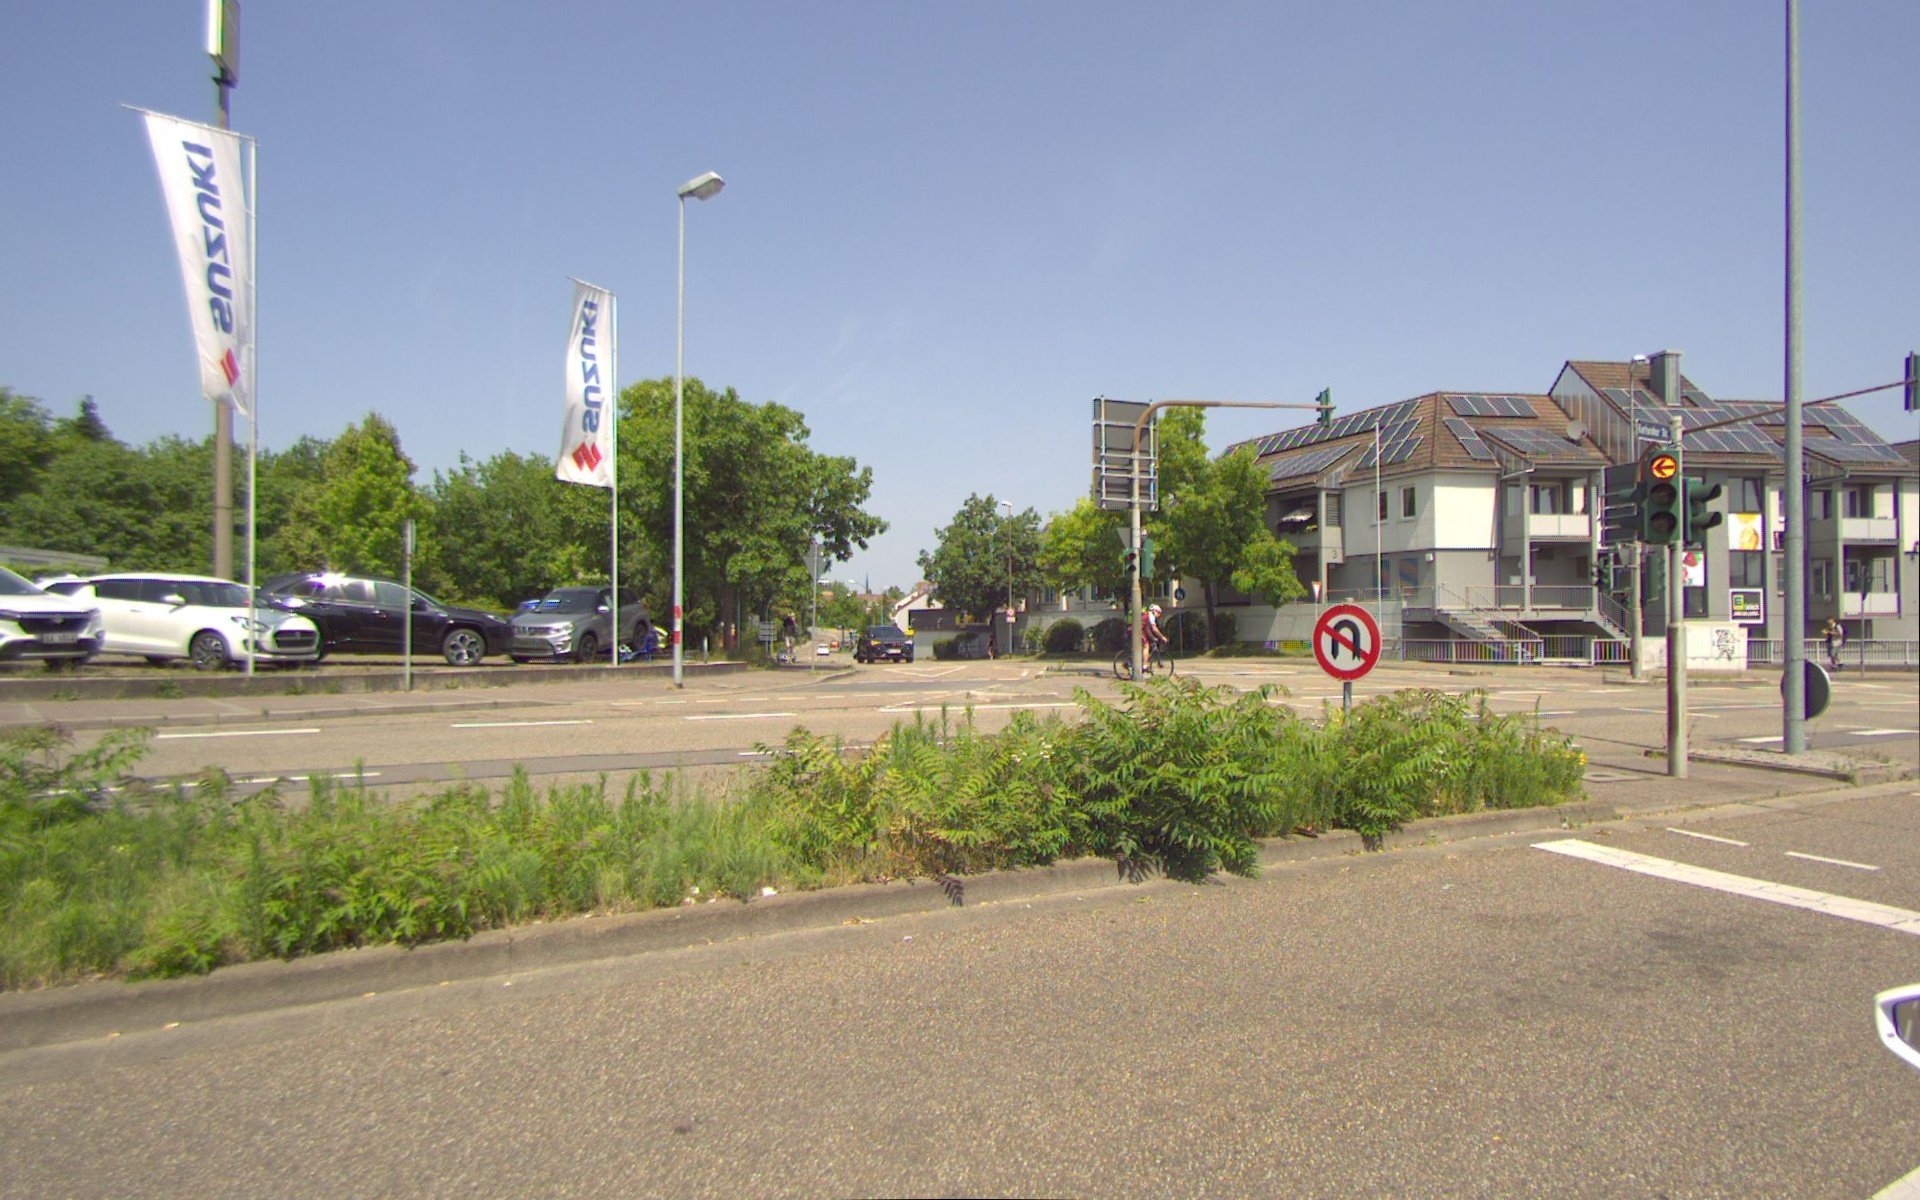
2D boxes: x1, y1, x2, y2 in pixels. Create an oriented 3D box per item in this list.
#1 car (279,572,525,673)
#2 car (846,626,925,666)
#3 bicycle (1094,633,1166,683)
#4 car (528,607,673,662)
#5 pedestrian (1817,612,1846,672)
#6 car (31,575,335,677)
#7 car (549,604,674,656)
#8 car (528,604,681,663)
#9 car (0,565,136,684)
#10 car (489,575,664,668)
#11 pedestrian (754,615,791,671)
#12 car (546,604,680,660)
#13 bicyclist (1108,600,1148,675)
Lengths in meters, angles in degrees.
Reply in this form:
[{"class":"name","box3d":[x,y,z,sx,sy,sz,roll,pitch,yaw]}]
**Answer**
[{"class":"car","box3d":[-10.740,0.481,19.606,3.965,1.746,1.833,3,-2,-28]},{"class":"car","box3d":[-3.073,1.875,40.593,1.974,1.505,4.421,0,-3,-21]},{"class":"bicycle","box3d":[3.858,1.301,22.772,1.769,1.068,0.418,0,1,-32]},{"class":"car","box3d":[-10.999,1.086,30.773,3.950,1.591,1.829,2,-3,-28]},{"class":"pedestrian","box3d":[29.855,1.430,34.422,0.733,2.041,0.501,0,1,-26]},{"class":"car","box3d":[-12.518,0.419,16.277,3.882,1.451,1.718,2,-2,11]},{"class":"car","box3d":[-12.250,1.068,35.318,3.949,1.706,1.856,2,-1,-27]},{"class":"car","box3d":[-10.185,0.958,28.799,3.949,1.557,1.783,2,-1,-27]},{"class":"car","box3d":[-14.261,0.281,14.276,3.882,1.561,1.920,2,0,12]},{"class":"car","box3d":[-8.743,0.555,23.361,1.792,1.926,4.313,2,-3,9]},{"class":"pedestrian","box3d":[-6.504,1.478,34.759,0.971,1.896,0.808,2,-1,-35]},{"class":"car","box3d":[-11.430,1.058,33.099,3.949,1.730,1.894,2,-1,-27]},{"class":"bicyclist","box3d":[3.796,0.852,22.718,0.812,1.664,0.419,1,0,-32]}]
